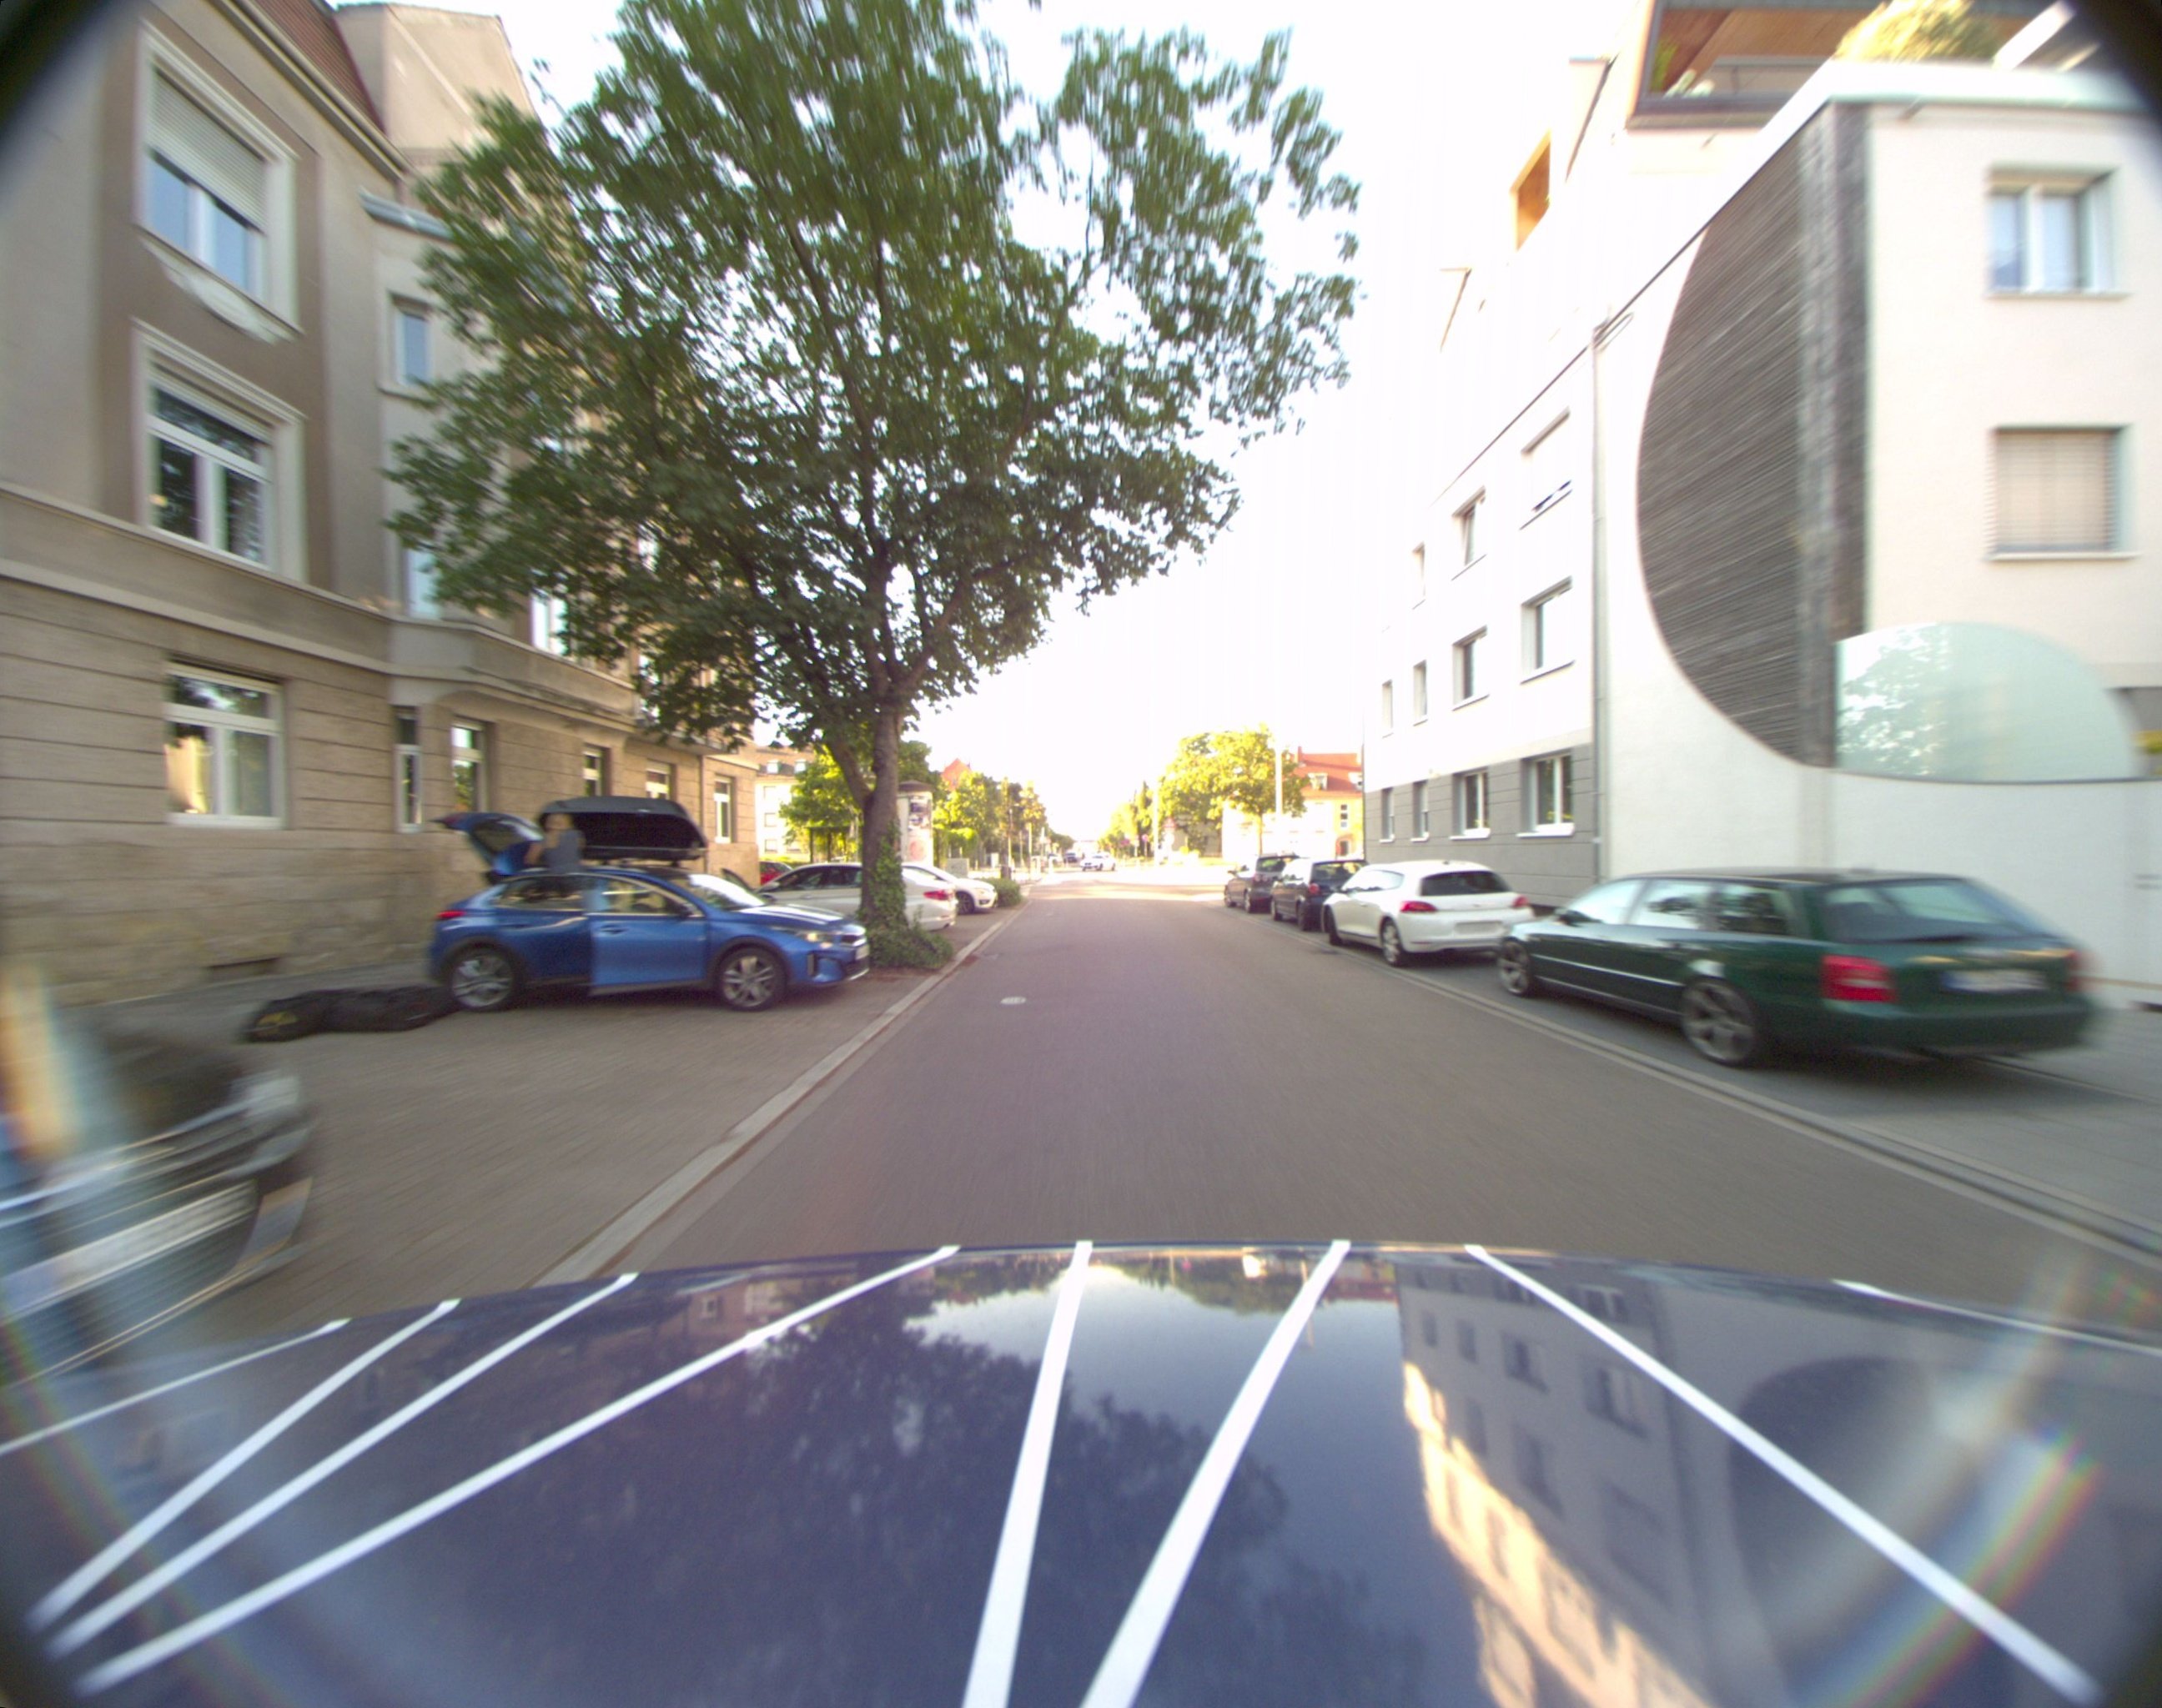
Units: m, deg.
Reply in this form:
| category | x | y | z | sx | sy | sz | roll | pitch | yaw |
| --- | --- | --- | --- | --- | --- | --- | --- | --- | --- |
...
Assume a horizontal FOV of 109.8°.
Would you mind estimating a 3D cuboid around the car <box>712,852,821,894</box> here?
| category | x | y | z | sx | sy | sz | roll | pitch | yaw |
| --- | --- | --- | --- | --- | --- | --- | --- | --- | --- |
| car | -13.915 | 0.836 | 33.776 | 4.085 | 1.730 | 1.812 | -1 | -1 | -2 |

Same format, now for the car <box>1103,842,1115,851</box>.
| category | x | y | z | sx | sy | sz | roll | pitch | yaw |
| --- | --- | --- | --- | --- | --- | --- | --- | --- | --- |
| car | 4.831 | -1.280 | 131.051 | 1.970 | 1.604 | 4.246 | -1 | 1 | 0 |

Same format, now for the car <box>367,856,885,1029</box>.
| category | x | y | z | sx | sy | sz | roll | pitch | yaw |
| --- | --- | --- | --- | --- | --- | --- | --- | --- | --- |
| car | -4.679 | 0.866 | 8.371 | 4.538 | 1.631 | 1.874 | 0 | 1 | -1 |

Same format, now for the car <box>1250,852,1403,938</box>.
| category | x | y | z | sx | sy | sz | roll | pitch | yaw |
| --- | --- | --- | --- | --- | --- | --- | --- | --- | --- |
| car | 5.164 | 0.785 | 16.586 | 1.889 | 1.582 | 4.089 | -1 | 1 | -2 |

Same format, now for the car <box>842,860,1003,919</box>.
| category | x | y | z | sx | sy | sz | roll | pitch | yaw |
| --- | --- | --- | --- | --- | --- | --- | --- | --- | --- |
| car | -4.275 | 0.948 | 21.037 | 4.059 | 1.497 | 1.861 | 0 | 1 | -1 |

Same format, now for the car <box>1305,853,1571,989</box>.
| category | x | y | z | sx | sy | sz | roll | pitch | yaw |
| --- | --- | --- | --- | --- | --- | --- | --- | --- | --- |
| car | 4.944 | 0.814 | 11.256 | 1.889 | 1.582 | 4.089 | -1 | 1 | -2 |

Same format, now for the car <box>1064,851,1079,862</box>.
| category | x | y | z | sx | sy | sz | roll | pitch | yaw |
| --- | --- | --- | --- | --- | --- | --- | --- | --- | --- |
| car | -1.473 | 0.314 | 115.801 | 1.971 | 1.604 | 4.245 | -1 | 1 | -3 |

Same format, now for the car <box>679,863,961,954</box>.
| category | x | y | z | sx | sy | sz | roll | pitch | yaw |
| --- | --- | --- | --- | --- | --- | --- | --- | --- | --- |
| car | -4.526 | 0.926 | 13.818 | 4.490 | 1.516 | 1.953 | 0 | 0 | -5 |

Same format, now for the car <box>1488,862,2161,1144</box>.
| category | x | y | z | sx | sy | sz | roll | pitch | yaw |
| --- | --- | --- | --- | --- | --- | --- | --- | --- | --- |
| car | 5.338 | 0.850 | 6.284 | 1.762 | 1.439 | 4.141 | -1 | 1 | 1 |

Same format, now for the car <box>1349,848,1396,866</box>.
| category | x | y | z | sx | sy | sz | roll | pitch | yaw |
| --- | --- | --- | --- | --- | --- | --- | --- | --- | --- |
| car | 29.273 | 0.353 | 76.351 | 3.997 | 1.685 | 1.851 | -1 | -1 | -2 |

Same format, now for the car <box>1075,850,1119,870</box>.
| category | x | y | z | sx | sy | sz | roll | pitch | yaw |
| --- | --- | --- | --- | --- | --- | --- | --- | --- | --- |
| car | 1.409 | 0.507 | 66.203 | 1.866 | 1.685 | 4.310 | -2 | -1 | 32 |

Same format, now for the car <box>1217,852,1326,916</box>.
| category | x | y | z | sx | sy | sz | roll | pitch | yaw |
| --- | --- | --- | --- | --- | --- | --- | --- | --- | --- |
| car | 5.221 | 0.757 | 21.405 | 1.889 | 1.582 | 4.089 | -1 | 1 | -2 |

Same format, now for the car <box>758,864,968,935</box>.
| category | x | y | z | sx | sy | sz | roll | pitch | yaw |
| --- | --- | --- | --- | --- | --- | --- | --- | --- | --- |
| car | -4.682 | 0.974 | 16.746 | 4.153 | 1.439 | 1.673 | 0 | 1 | -1 |

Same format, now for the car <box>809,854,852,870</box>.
| category | x | y | z | sx | sy | sz | roll | pitch | yaw |
| --- | --- | --- | --- | --- | --- | --- | --- | --- | --- |
| car | -25.423 | 0.803 | 77.145 | 3.769 | 1.517 | 1.771 | -1 | 2 | 3 |

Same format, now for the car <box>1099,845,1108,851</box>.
| category | x | y | z | sx | sy | sz | roll | pitch | yaw |
| --- | --- | --- | --- | --- | --- | --- | --- | --- | --- |
| car | 5.759 | -1.539 | 193.335 | 1.970 | 1.604 | 4.246 | -1 | 1 | 0 |

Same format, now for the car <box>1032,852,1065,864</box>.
| category | x | y | z | sx | sy | sz | roll | pitch | yaw |
| --- | --- | --- | --- | --- | --- | --- | --- | --- | --- |
| car | -4.701 | 0.583 | 111.348 | 4.835 | 1.604 | 1.971 | 0 | 1 | -2 |

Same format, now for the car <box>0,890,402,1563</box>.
| category | x | y | z | sx | sy | sz | roll | pitch | yaw |
| --- | --- | --- | --- | --- | --- | --- | --- | --- | --- |
| car | -4.672 | 0.924 | 1.908 | 4.201 | 1.549 | 1.874 | 0 | 0 | -1 |

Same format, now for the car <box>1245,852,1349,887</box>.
| category | x | y | z | sx | sy | sz | roll | pitch | yaw |
| --- | --- | --- | --- | --- | --- | --- | --- | --- | --- |
| car | 11.049 | 0.770 | 39.152 | 4.835 | 1.659 | 1.788 | -1 | 1 | 1 |
